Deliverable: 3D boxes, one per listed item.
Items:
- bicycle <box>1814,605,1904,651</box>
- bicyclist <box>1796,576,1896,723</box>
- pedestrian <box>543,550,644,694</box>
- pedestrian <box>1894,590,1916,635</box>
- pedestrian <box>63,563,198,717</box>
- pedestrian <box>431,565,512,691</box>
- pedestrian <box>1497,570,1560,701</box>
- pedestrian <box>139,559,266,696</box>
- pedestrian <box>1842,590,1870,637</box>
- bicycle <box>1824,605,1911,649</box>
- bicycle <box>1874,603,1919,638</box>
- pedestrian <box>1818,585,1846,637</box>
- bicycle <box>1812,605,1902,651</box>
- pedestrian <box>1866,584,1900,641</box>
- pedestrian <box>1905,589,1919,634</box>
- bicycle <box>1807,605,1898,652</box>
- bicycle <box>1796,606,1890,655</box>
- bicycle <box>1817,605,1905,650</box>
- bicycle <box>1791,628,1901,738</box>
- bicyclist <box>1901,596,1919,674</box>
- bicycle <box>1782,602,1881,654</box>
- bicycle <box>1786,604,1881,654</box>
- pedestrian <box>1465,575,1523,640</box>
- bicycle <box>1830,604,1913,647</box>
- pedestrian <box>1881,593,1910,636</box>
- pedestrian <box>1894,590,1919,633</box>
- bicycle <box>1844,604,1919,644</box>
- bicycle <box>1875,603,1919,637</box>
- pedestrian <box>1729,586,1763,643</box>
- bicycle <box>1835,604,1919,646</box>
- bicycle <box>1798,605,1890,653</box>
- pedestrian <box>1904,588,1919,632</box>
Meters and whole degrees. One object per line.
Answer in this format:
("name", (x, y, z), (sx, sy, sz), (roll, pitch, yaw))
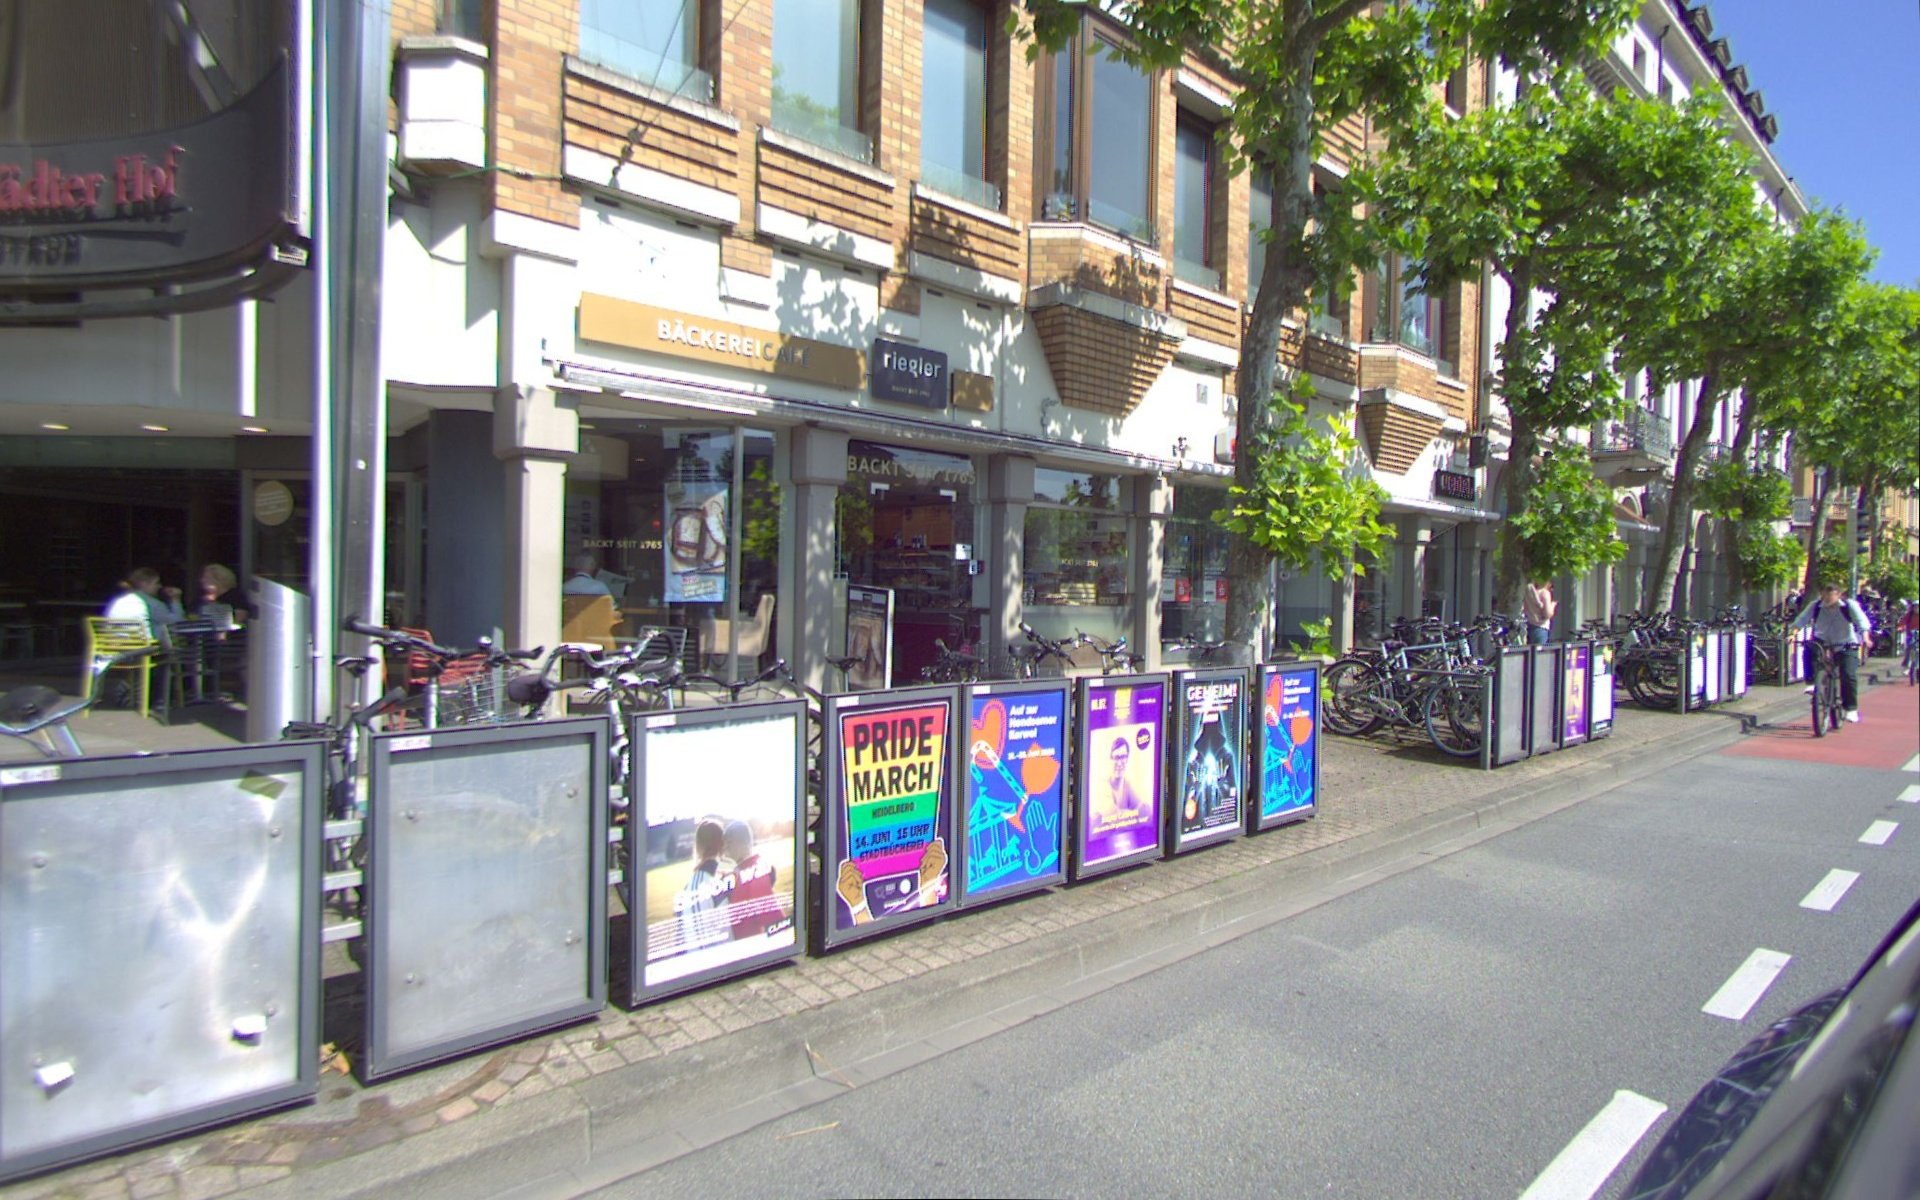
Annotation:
("bicycle", (24.113, 0.734, 27.153), (0.582, 1.161, 1.755), (0, 0, -42))
("bicyclist", (10.125, 0.541, 11.565), (0.765, 1.597, 0.749), (0, -1, -42))
("pedestrian", (-3.359, 0.197, 9.324), (0.628, 1.271, 0.793), (-1, -1, 2))
("pedestrian", (36.644, 0.482, 39.235), (0.612, 1.706, 0.577), (0, -1, -44))
("pedestrian", (-7.228, 0.332, 8.825), (0.636, 1.271, 0.783), (-1, -1, 37))
("pedestrian", (-5.168, 0.285, 10.695), (0.628, 1.271, 0.793), (0, -1, -37))
("pedestrian", (7.408, 0.448, 13.214), (0.648, 1.654, 0.724), (-1, -1, 26))
("pedestrian", (-7.324, 0.261, 9.821), (0.628, 1.271, 0.793), (-1, -1, 2))
("pedestrian", (34.520, 0.520, 39.001), (0.764, 1.805, 0.720), (0, -1, -43))
("bicycle", (25.300, 0.731, 28.237), (0.582, 1.161, 1.755), (0, 0, -42))
("bicycle", (32.918, 0.715, 35.111), (0.582, 1.161, 1.755), (0, 0, -42))
("pedestrian", (31.113, 0.389, 36.106), (0.764, 1.816, 0.634), (0, -1, -43))
("bicycle", (23.717, 0.726, 26.789), (0.474, 1.161, 1.755), (0, 0, -42))
("pedestrian", (25.556, 0.338, 28.019), (0.655, 1.558, 0.605), (0, -1, -42))
("pedestrian", (37.923, 0.443, 40.133), (0.612, 1.762, 0.577), (0, -1, -44))
("bicycle", (23.310, 0.734, 26.462), (0.474, 1.161, 1.755), (0, 0, -42))
("bicycle", (22.365, 0.756, 25.660), (0.474, 1.161, 1.755), (0, 0, -42))
("bicycle", (24.595, 0.733, 27.640), (0.582, 1.161, 1.755), (0, 0, -42))
("bicycle", (10.141, 0.898, 11.559), (1.865, 1.107, 0.735), (0, -1, -43))
("bicyclist", (17.741, 0.630, 18.512), (0.765, 1.414, 0.689), (0, -1, -43))
("bicycle", (21.449, 0.666, 24.934), (0.474, 1.209, 1.801), (0, 0, -42))
("bicycle", (21.875, 0.710, 25.362), (0.474, 1.161, 1.755), (0, 0, -42))
("pedestrian", (11.102, 0.164, 21.059), (0.850, 1.323, 0.654), (-1, -1, 1))
("bicycle", (25.821, 0.700, 28.701), (0.510, 1.161, 1.705), (0, 0, -42))
("pedestrian", (35.483, 0.556, 38.375), (0.571, 1.604, 0.518), (-1, -1, -1))
("pedestrian", (41.239, 0.487, 43.873), (0.838, 1.869, 0.623), (-1, -1, -2))
("bicycle", (28.295, 0.724, 31.008), (0.582, 1.161, 1.755), (0, 0, -42))
("bicycle", (33.356, 0.713, 35.535), (0.582, 1.161, 1.755), (0, 0, -42))
("pedestrian", (23.780, 0.432, 30.609), (0.664, 1.718, 0.658), (0, -1, -40))
("bicycle", (26.328, 0.700, 29.082), (0.582, 1.161, 1.755), (0, 0, -42))
("bicycle", (22.826, 0.740, 26.153), (0.474, 1.161, 1.755), (0, 0, -42))
("pedestrian", (37.406, 0.390, 39.650), (0.612, 1.746, 0.577), (0, -1, -44))
